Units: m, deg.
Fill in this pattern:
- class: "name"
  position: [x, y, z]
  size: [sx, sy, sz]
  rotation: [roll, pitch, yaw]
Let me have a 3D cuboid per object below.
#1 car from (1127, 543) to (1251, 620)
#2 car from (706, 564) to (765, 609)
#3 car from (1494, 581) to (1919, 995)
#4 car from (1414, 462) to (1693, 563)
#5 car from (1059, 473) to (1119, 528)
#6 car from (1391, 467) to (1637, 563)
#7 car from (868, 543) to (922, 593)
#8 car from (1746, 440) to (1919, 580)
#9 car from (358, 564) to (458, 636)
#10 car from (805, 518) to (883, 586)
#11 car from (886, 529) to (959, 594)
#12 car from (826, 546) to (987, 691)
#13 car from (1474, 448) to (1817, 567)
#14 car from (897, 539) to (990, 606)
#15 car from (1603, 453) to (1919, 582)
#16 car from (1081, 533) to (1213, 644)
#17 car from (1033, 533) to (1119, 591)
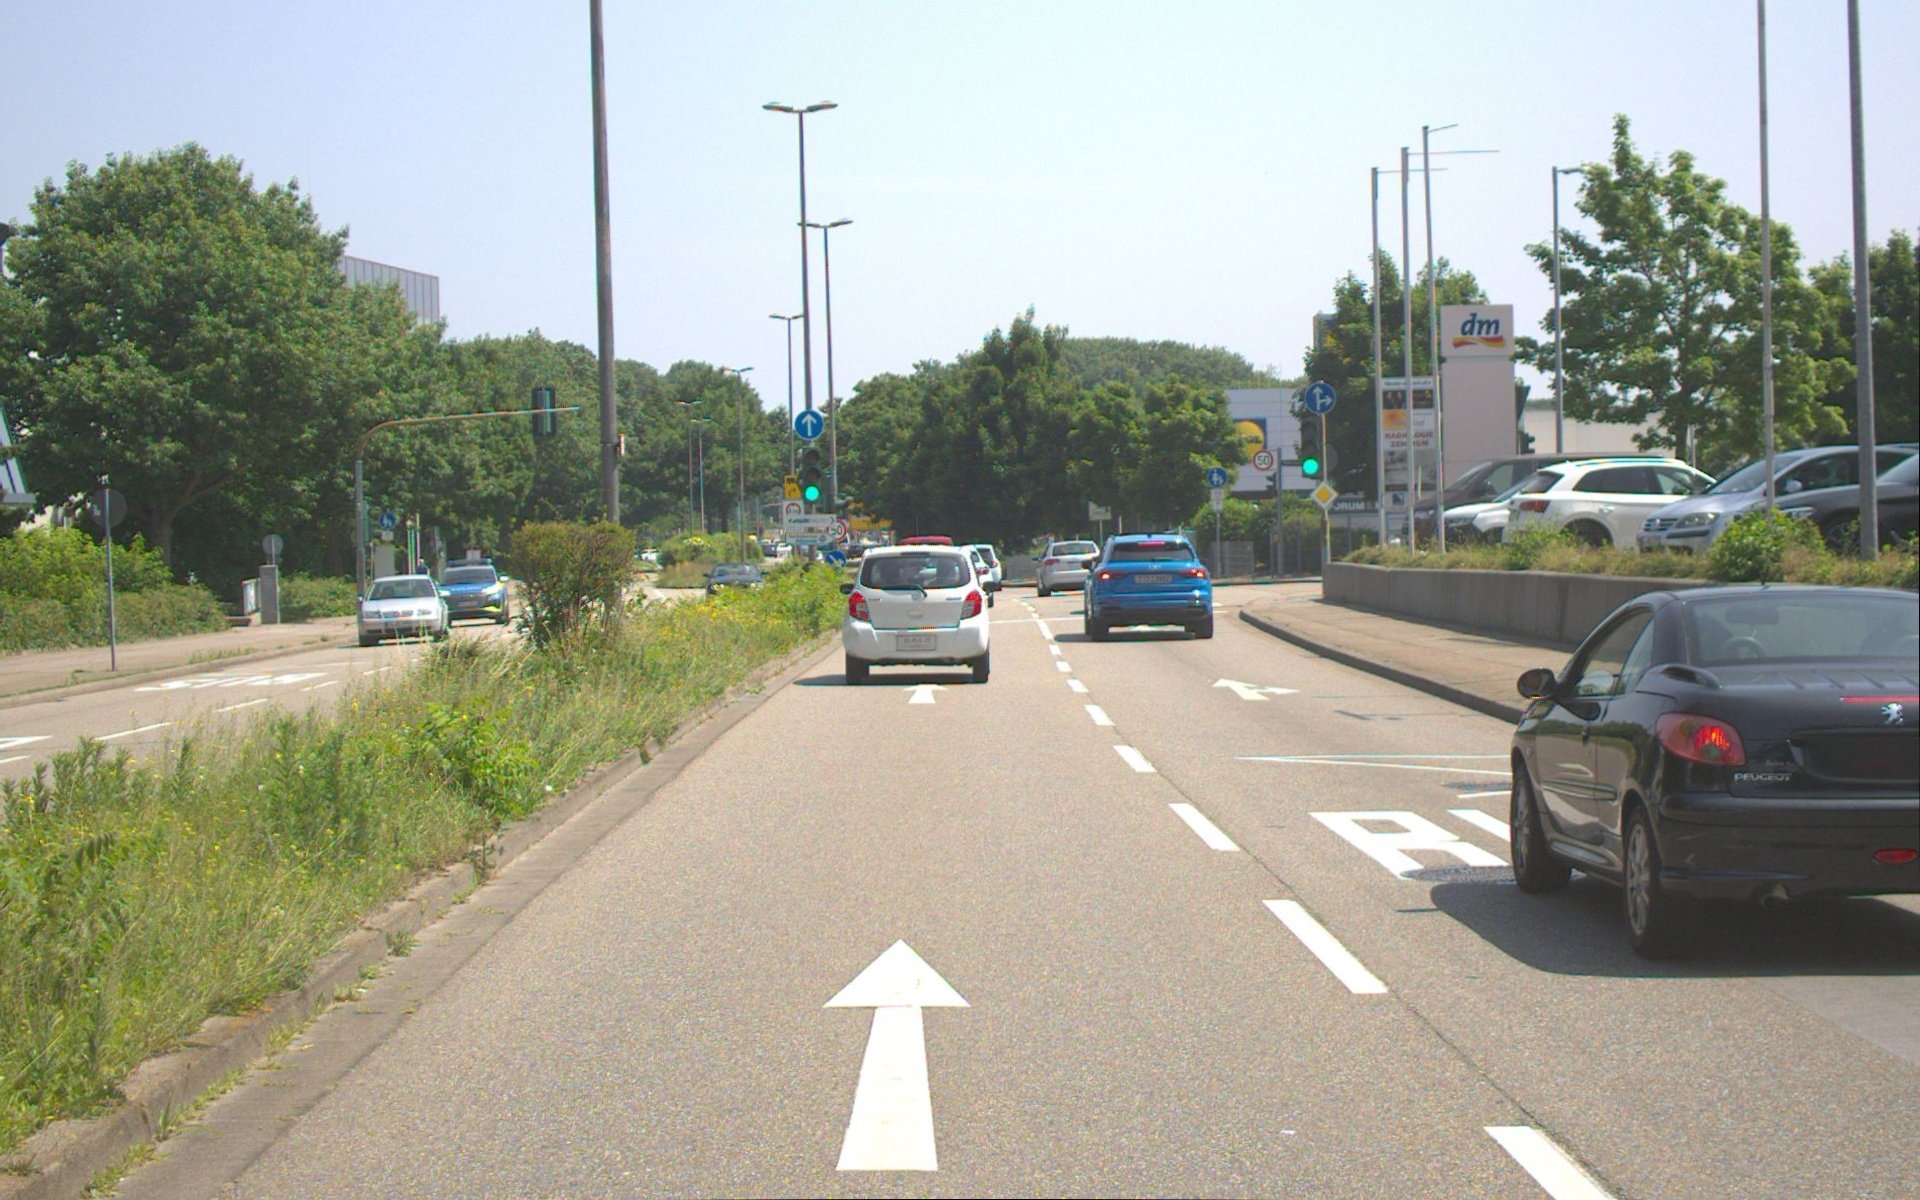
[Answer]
- class: "car"
  position: [4.398, -0.371, 65.706]
  size: [1.459, 1.371, 3.488]
  rotation: [-1, 1, 19]
- class: "car"
  position: [-6.612, -0.408, 101.078]
  size: [1.573, 1.264, 3.731]
  rotation: [-2, 1, -6]
- class: "car"
  position: [3.255, 0.651, 13.832]
  size: [1.627, 1.359, 3.606]
  rotation: [0, 2, 0]
- class: "car"
  position: [10.146, -1.498, 58.964]
  size: [4.346, 1.539, 2.000]
  rotation: [-2, 1, -2]
- class: "car"
  position: [4.874, -3.746, 130.018]
  size: [1.769, 2.006, 3.992]
  rotation: [-2, 2, -4]
- class: "car"
  position: [9.907, -1.519, 61.719]
  size: [3.986, 1.539, 2.000]
  rotation: [-2, 1, -2]
- class: "car"
  position: [-2.290, -1.142, 121.163]
  size: [1.797, 1.684, 4.000]
  rotation: [-2, 1, -1]
- class: "car"
  position: [10.608, -0.984, 35.756]
  size: [4.319, 1.364, 2.000]
  rotation: [-2, 1, -2]
- class: "car"
  position: [-11.528, -0.023, 71.965]
  size: [1.735, 1.408, 4.372]
  rotation: [-2, 1, -5]
- class: "car"
  position: [-3.086, -1.283, 90.818]
  size: [1.819, 1.656, 4.001]
  rotation: [-2, 2, -5]
- class: "car"
  position: [-1.068, -1.094, 96.412]
  size: [1.775, 1.734, 4.001]
  rotation: [-2, 1, -4]
- class: "car"
  position: [-0.569, 0.169, 39.254]
  size: [1.748, 1.515, 3.746]
  rotation: [0, 2, 1]
- class: "car"
  position: [9.973, -1.342, 50.247]
  size: [4.535, 1.539, 2.000]
  rotation: [-2, 1, -1]
- class: "car"
  position: [-0.406, -0.638, 77.899]
  size: [1.993, 1.437, 4.000]
  rotation: [-2, 1, -1]
- class: "car"
  position: [10.120, -1.021, 42.350]
  size: [3.920, 1.447, 1.765]
  rotation: [-2, 1, -18]
- class: "car"
  position: [2.837, -0.204, 52.804]
  size: [1.828, 1.575, 3.606]
  rotation: [-1, 2, 0]
- class: "car"
  position: [3.000, -0.998, 89.822]
  size: [1.993, 1.415, 4.000]
  rotation: [-2, 1, -1]
